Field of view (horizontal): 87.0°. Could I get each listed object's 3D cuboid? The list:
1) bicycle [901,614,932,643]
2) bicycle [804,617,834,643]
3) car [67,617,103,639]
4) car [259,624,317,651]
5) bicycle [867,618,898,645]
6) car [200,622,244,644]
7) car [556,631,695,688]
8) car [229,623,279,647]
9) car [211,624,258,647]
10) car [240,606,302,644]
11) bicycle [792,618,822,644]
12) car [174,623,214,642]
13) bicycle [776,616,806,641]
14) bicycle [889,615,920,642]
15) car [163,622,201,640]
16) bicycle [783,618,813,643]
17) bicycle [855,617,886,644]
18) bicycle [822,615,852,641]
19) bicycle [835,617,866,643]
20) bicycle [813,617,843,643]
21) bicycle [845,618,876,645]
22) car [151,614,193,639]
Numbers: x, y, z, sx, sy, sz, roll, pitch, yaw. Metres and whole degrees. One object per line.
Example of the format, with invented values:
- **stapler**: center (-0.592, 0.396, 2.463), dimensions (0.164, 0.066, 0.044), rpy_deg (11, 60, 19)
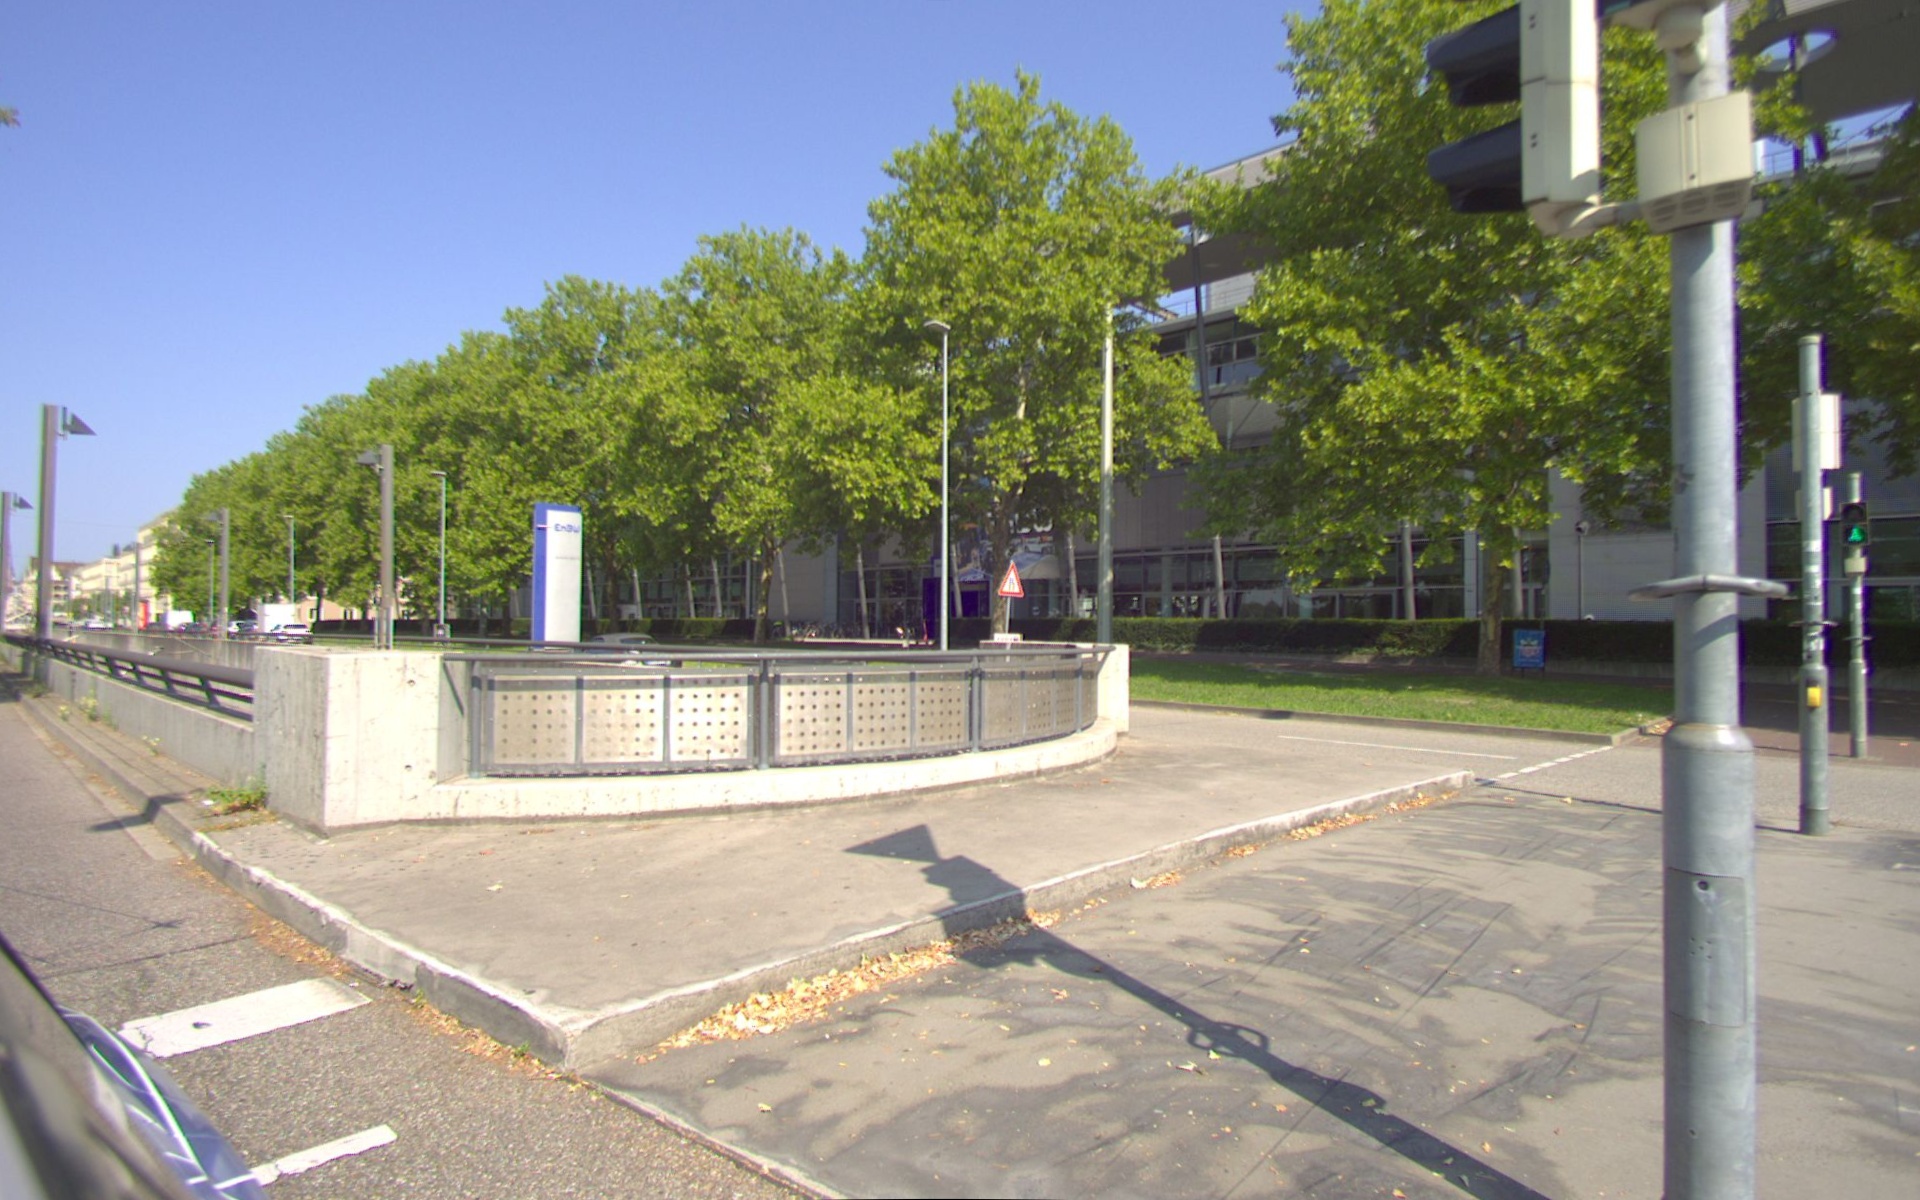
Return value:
- **bicycle**: center (-2.618, 1.689, 60.773), dimensions (0.599, 1.652, 2.143), rpy_deg (-1, 0, 37)
- **bicycle**: center (-9.092, 1.907, 65.318), dimensions (0.599, 1.566, 2.143), rpy_deg (-1, 0, 37)
- **car**: center (-84.644, 2.654, 97.910), dimensions (3.996, 2.029, 1.974), rpy_deg (-1, 0, 39)
- **car**: center (-39.838, 2.197, 59.943), dimensions (4.000, 1.464, 1.972), rpy_deg (-1, 0, 43)
- **bicycle**: center (-4.740, 1.907, 62.165), dimensions (0.599, 1.566, 2.143), rpy_deg (-1, 0, 37)
- **car**: center (-54.872, 2.432, 75.230), dimensions (4.000, 1.464, 1.972), rpy_deg (-1, 0, 43)
- **car**: center (-8.583, 1.464, 25.805), dimensions (3.893, 1.230, 1.639), rpy_deg (-1, 0, 42)
- **car**: center (-46.813, 2.324, 67.081), dimensions (4.000, 1.464, 1.972), rpy_deg (-1, 0, 43)
- **car**: center (-50.849, 2.472, 70.892), dimensions (4.000, 1.464, 1.972), rpy_deg (-1, 0, 43)
- **car**: center (-43.354, 1.550, 63.654), dimensions (4.656, 2.250, 2.260), rpy_deg (-1, 0, 43)
- **bicycle**: center (-9.980, 2.008, 65.996), dimensions (0.599, 1.566, 2.143), rpy_deg (-1, 0, 37)
- **car**: center (-62.218, 2.640, 82.194), dimensions (4.000, 1.464, 1.972), rpy_deg (-1, 0, 43)
- **bicycle**: center (-11.145, 1.890, 66.862), dimensions (0.599, 1.566, 2.143), rpy_deg (-1, 0, 37)
- **bicycle**: center (-3.352, 1.716, 61.289), dimensions (0.599, 1.566, 2.143), rpy_deg (-1, 0, 37)
- **car**: center (-66.738, 2.631, 86.836), dimensions (4.000, 1.464, 1.972), rpy_deg (-1, 0, 43)
- **bicycle**: center (-10.623, 1.988, 66.459), dimensions (0.599, 1.566, 2.143), rpy_deg (-1, 0, 37)
- **bicycle**: center (-5.524, 1.888, 62.765), dimensions (0.599, 1.566, 2.143), rpy_deg (-1, 0, 37)
- **bicycle**: center (-7.822, 1.796, 64.413), dimensions (0.599, 1.566, 2.143), rpy_deg (-1, 0, 37)
- **bicycle**: center (-6.886, 1.863, 63.759), dimensions (0.599, 1.566, 2.143), rpy_deg (-1, 0, 37)
- **bicycle**: center (-8.455, 1.928, 64.835), dimensions (0.599, 1.566, 2.143), rpy_deg (-1, 0, 37)
- **bicycle**: center (-6.199, 1.953, 63.253), dimensions (0.599, 1.566, 2.143), rpy_deg (-1, 0, 37)
- **car**: center (-70.785, 2.355, 90.875), dimensions (4.656, 2.095, 2.260), rpy_deg (-1, 0, 43)
